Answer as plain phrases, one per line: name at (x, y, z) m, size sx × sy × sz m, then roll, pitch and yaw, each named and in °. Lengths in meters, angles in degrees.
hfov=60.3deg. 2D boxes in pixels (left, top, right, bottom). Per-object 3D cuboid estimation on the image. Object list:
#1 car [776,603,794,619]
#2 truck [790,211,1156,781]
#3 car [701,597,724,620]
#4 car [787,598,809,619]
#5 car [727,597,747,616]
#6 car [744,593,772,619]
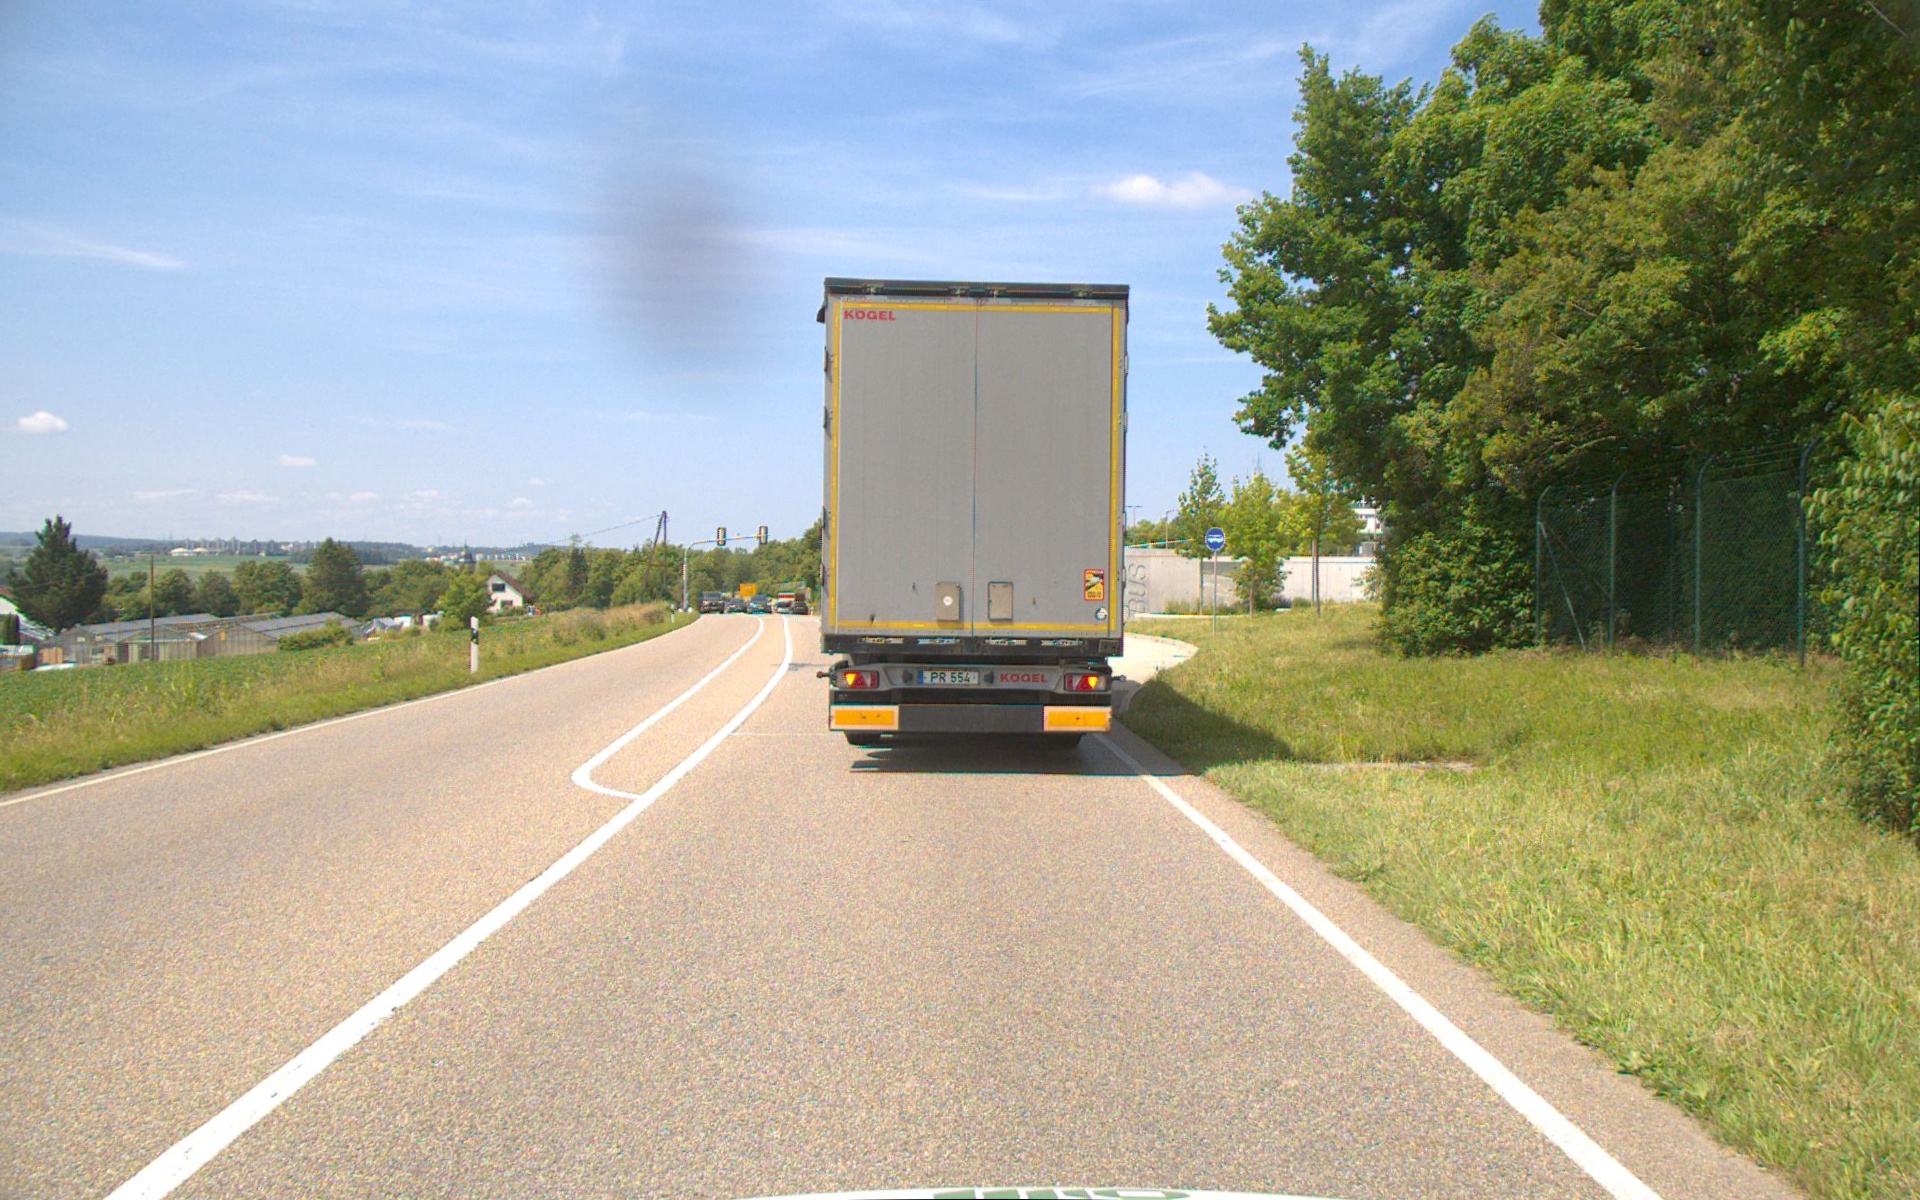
car at (-20.577, 1.277, 194.356) m, size 1.855 × 1.808 × 4.382 m, roll -2°, pitch 0°, yaw -4°
truck at (-0.074, -0.848, 17.631) m, size 2.849 × 4.487 × 8.855 m, roll 1°, pitch 0°, yaw -3°
car at (-22.557, 0.764, 150.942) m, size 1.956 × 2.013 × 5.270 m, roll -2°, pitch 0°, yaw -7°
car at (-17.052, 0.892, 174.434) m, size 2.129 × 2.049 × 4.522 m, roll -2°, pitch 0°, yaw -4°
car at (-22.960, 0.648, 170.540) m, size 1.956 × 1.847 × 4.289 m, roll -2°, pitch 1°, yaw -7°
car at (-16.129, 0.459, 132.332) m, size 1.955 × 1.984 × 4.498 m, roll -2°, pitch 0°, yaw -5°
